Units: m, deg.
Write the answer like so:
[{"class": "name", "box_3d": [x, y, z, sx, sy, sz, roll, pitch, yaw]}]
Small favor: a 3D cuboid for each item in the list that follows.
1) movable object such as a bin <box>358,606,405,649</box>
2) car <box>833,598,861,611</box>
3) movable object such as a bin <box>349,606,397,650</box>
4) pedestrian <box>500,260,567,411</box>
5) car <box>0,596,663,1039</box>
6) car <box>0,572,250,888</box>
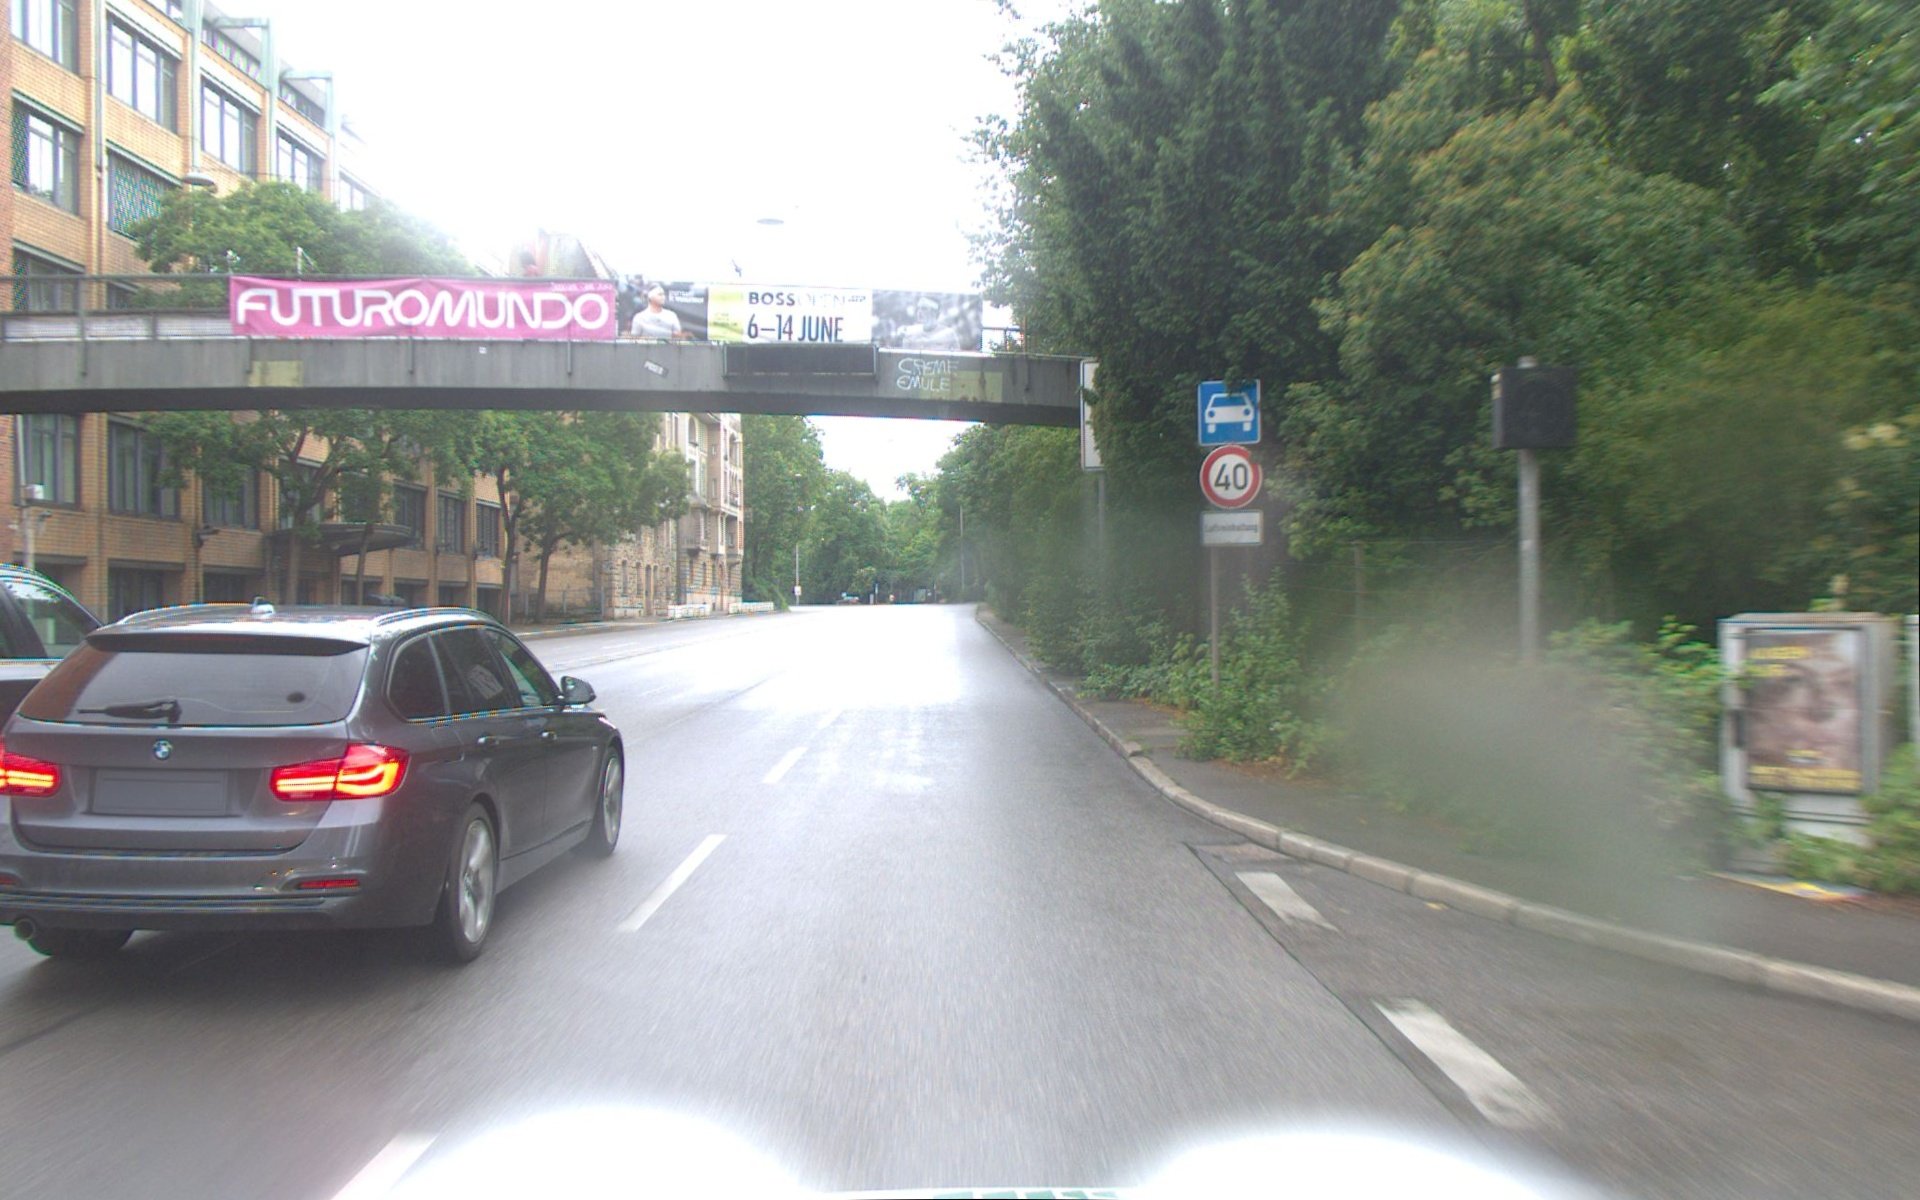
[{"class": "movable object such as a bin", "box_3d": [-20.955, 0.990, 59.960, 1.272, 1.545, 1.214, 0, 0, 0]}, {"class": "car", "box_3d": [-15.379, 0.604, 225.479, 3.513, 1.574, 1.613, 2, -1, 1]}, {"class": "movable object such as a bin", "box_3d": [-20.742, 0.982, 58.462, 1.256, 1.545, 1.273, 0, 0, 0]}, {"class": "pedestrian", "box_3d": [-7.180, -4.435, 27.901, 0.935, 2.386, 1.005, -1, -1, -6]}, {"class": "car", "box_3d": [-2.732, 0.764, 7.913, 1.740, 1.483, 4.477, 1, -1, 0]}, {"class": "car", "box_3d": [-5.975, 0.668, 9.531, 1.772, 1.685, 4.444, 2, -1, 0]}]
